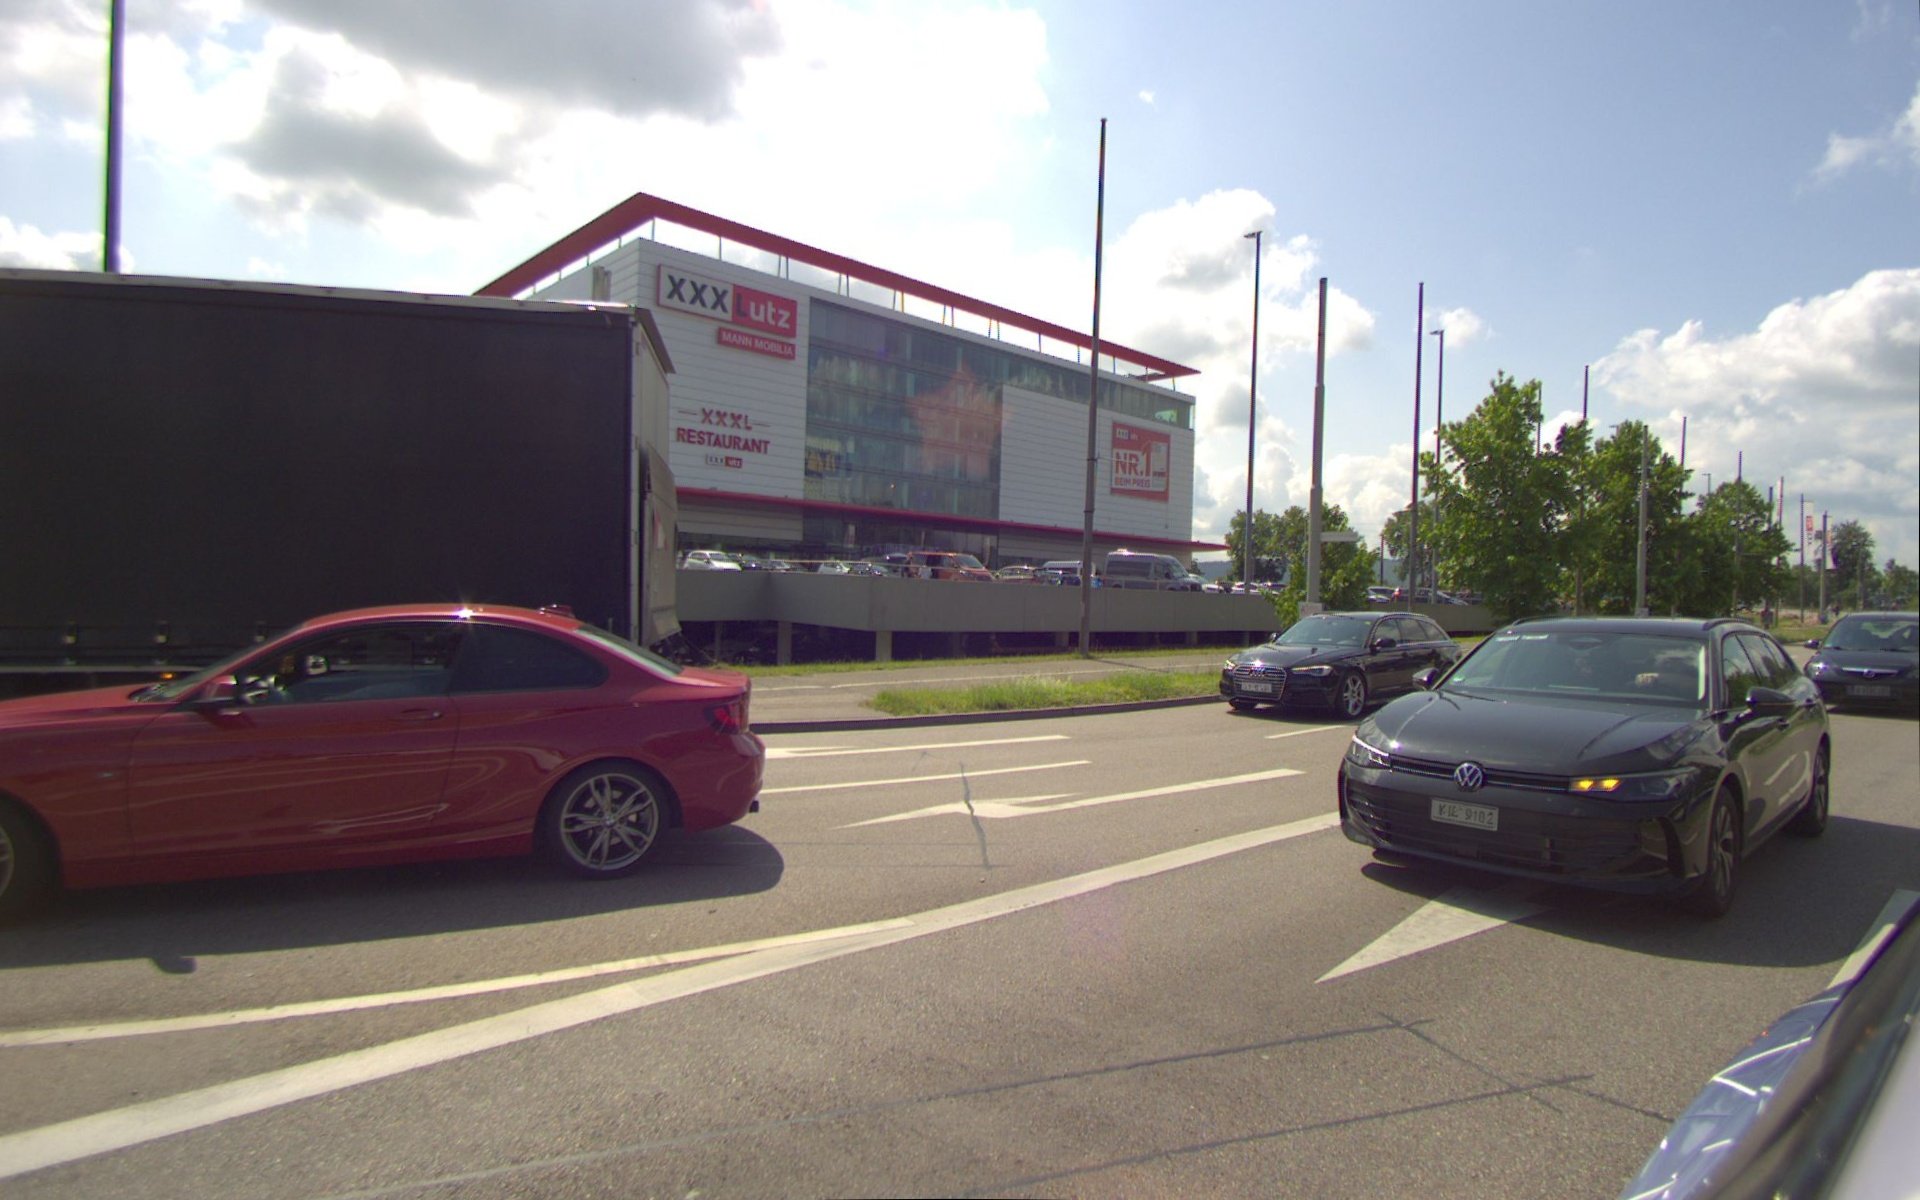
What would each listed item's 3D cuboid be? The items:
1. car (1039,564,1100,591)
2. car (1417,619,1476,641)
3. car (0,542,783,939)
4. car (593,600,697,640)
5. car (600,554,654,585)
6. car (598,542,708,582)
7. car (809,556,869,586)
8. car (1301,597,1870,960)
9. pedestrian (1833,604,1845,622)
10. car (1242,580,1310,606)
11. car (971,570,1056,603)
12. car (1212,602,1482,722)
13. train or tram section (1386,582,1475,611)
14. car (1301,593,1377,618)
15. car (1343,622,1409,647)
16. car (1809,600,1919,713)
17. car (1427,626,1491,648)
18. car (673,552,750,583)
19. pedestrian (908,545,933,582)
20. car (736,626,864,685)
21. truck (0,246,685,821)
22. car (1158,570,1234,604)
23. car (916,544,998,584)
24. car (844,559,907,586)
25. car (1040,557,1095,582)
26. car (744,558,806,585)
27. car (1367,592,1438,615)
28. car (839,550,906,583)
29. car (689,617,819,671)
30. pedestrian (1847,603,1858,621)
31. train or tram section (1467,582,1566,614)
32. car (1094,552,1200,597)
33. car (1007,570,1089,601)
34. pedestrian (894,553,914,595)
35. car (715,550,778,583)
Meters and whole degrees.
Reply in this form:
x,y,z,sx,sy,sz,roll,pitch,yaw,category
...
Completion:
x,y,z,sx,sy,sz,roll,pitch,yaw,category
7.584,-1.520,70.477,1.884,1.772,3.992,0,0,-42,car
42.342,2.576,88.169,1.534,1.786,4.411,0,0,-44,car
-3.245,0.579,5.643,4.131,1.676,1.868,-1,0,-23,car
-14.792,0.892,47.677,1.994,1.772,4.292,0,0,45,car
-21.501,-1.935,65.237,1.534,1.847,4.412,1,0,-44,car
-13.710,-1.671,45.336,1.948,1.626,4.355,0,0,42,car
-7.767,-1.826,64.769,1.884,1.772,3.992,0,0,-42,car
4.377,0.753,6.610,5.114,1.497,1.811,0,0,-42,car
89.894,1.341,103.469,0.693,1.837,0.543,0,-1,13,pedestrian
22.308,-0.504,71.553,1.534,1.786,4.411,0,0,-44,car
2.782,-0.688,53.111,1.921,1.626,4.415,1,0,-42,car
5.847,0.796,15.010,4.596,1.497,1.777,0,0,-41,car
78.555,-0.533,169.292,3.670,4.618,13.075,0,0,-43,train or tram section
25.464,0.366,68.139,1.921,1.626,4.415,1,0,-42,car
32.084,2.647,78.135,1.534,1.786,4.411,0,0,-44,car
14.642,0.828,15.768,4.196,1.549,1.605,1,0,-42,car
41.603,3.064,84.381,1.921,1.626,4.415,1,0,-42,car
-12.962,-1.678,52.661,1.923,1.489,4.412,1,0,-44,car
-1.936,-1.775,49.329,1.014,1.765,0.698,-1,-1,36,pedestrian
-5.420,1.829,34.554,1.994,1.772,3.935,0,0,45,car
-7.079,-0.475,8.767,8.881,4.078,3.228,0,0,-11,truck
13.273,-0.706,57.051,1.719,1.816,3.994,0,0,-40,car
-0.191,-1.709,49.568,1.881,1.772,4.187,0,0,-36,car
-5.534,-1.749,65.771,1.920,1.626,4.417,1,0,-40,car
8.245,-2.326,77.665,1.884,1.772,3.992,0,0,-42,car
-11.204,-1.698,61.043,1.534,1.489,4.412,1,0,-44,car
32.519,0.228,74.429,1.921,1.626,4.415,1,0,-42,car
-5.092,-1.915,58.597,1.884,1.772,3.992,0,0,-42,car
-7.491,1.550,37.035,1.994,1.772,4.292,0,0,45,car
90.670,1.256,102.814,0.520,1.837,0.673,0,-1,18,pedestrian
87.611,-0.382,159.577,3.670,4.425,13.080,0,2,-43,train or tram section
10.138,-1.359,55.287,1.721,2.312,5.783,0,0,-44,car
4.782,-0.786,55.302,1.920,1.626,4.417,1,0,-40,car
-2.733,-1.281,49.586,0.895,2.039,0.706,0,-1,4,pedestrian
-12.535,-1.911,59.195,1.884,1.772,3.992,0,0,-42,car
